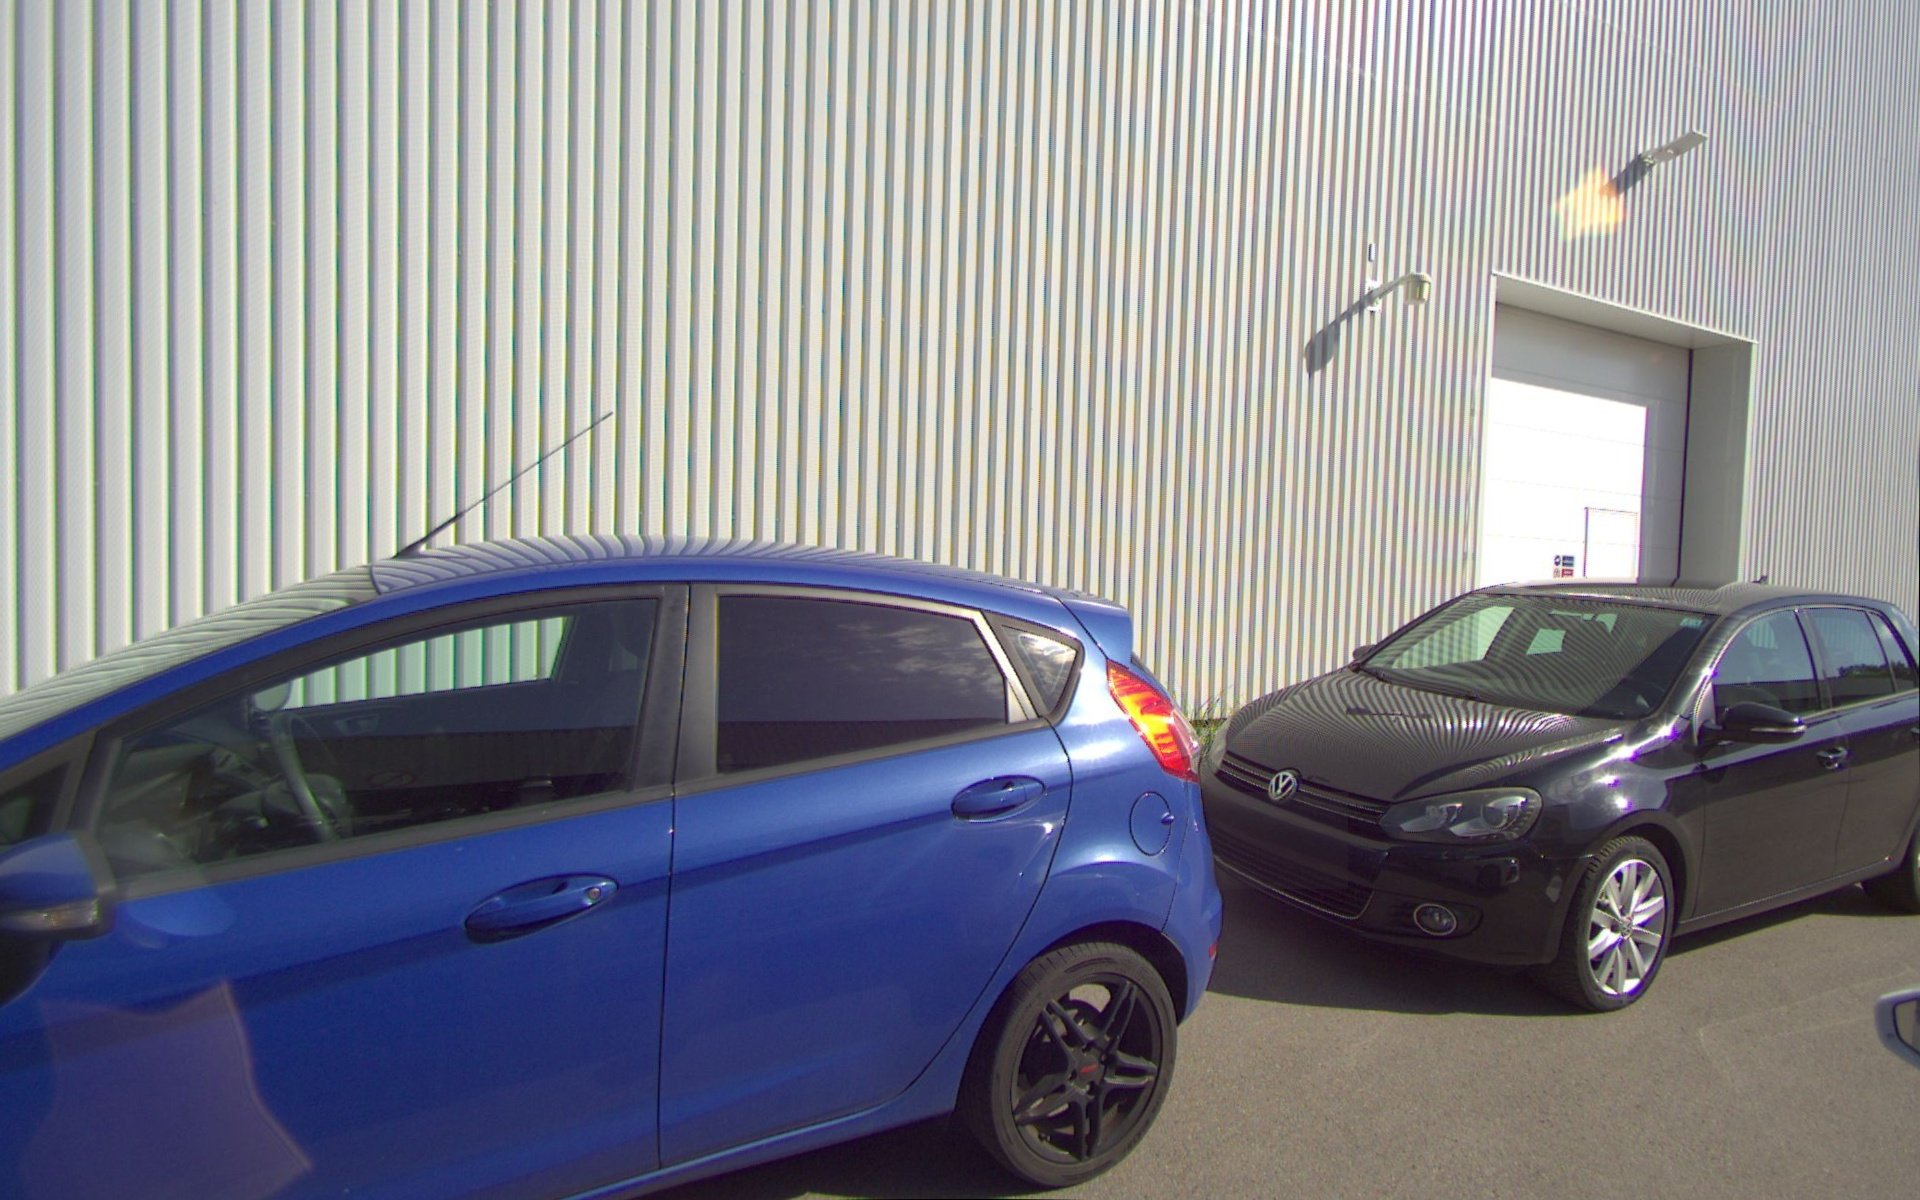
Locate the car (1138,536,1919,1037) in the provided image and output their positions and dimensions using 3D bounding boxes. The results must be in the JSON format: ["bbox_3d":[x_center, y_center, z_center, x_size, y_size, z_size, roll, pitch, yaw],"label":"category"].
[{"bbox_3d":[2.901,0.561,4.622,3.829,1.466,1.643,1,5,-28],"label":"car"}]

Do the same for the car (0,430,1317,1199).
[{"bbox_3d":[-1.125,0.466,2.370,3.719,1.467,1.612,1,3,-29],"label":"car"}]
